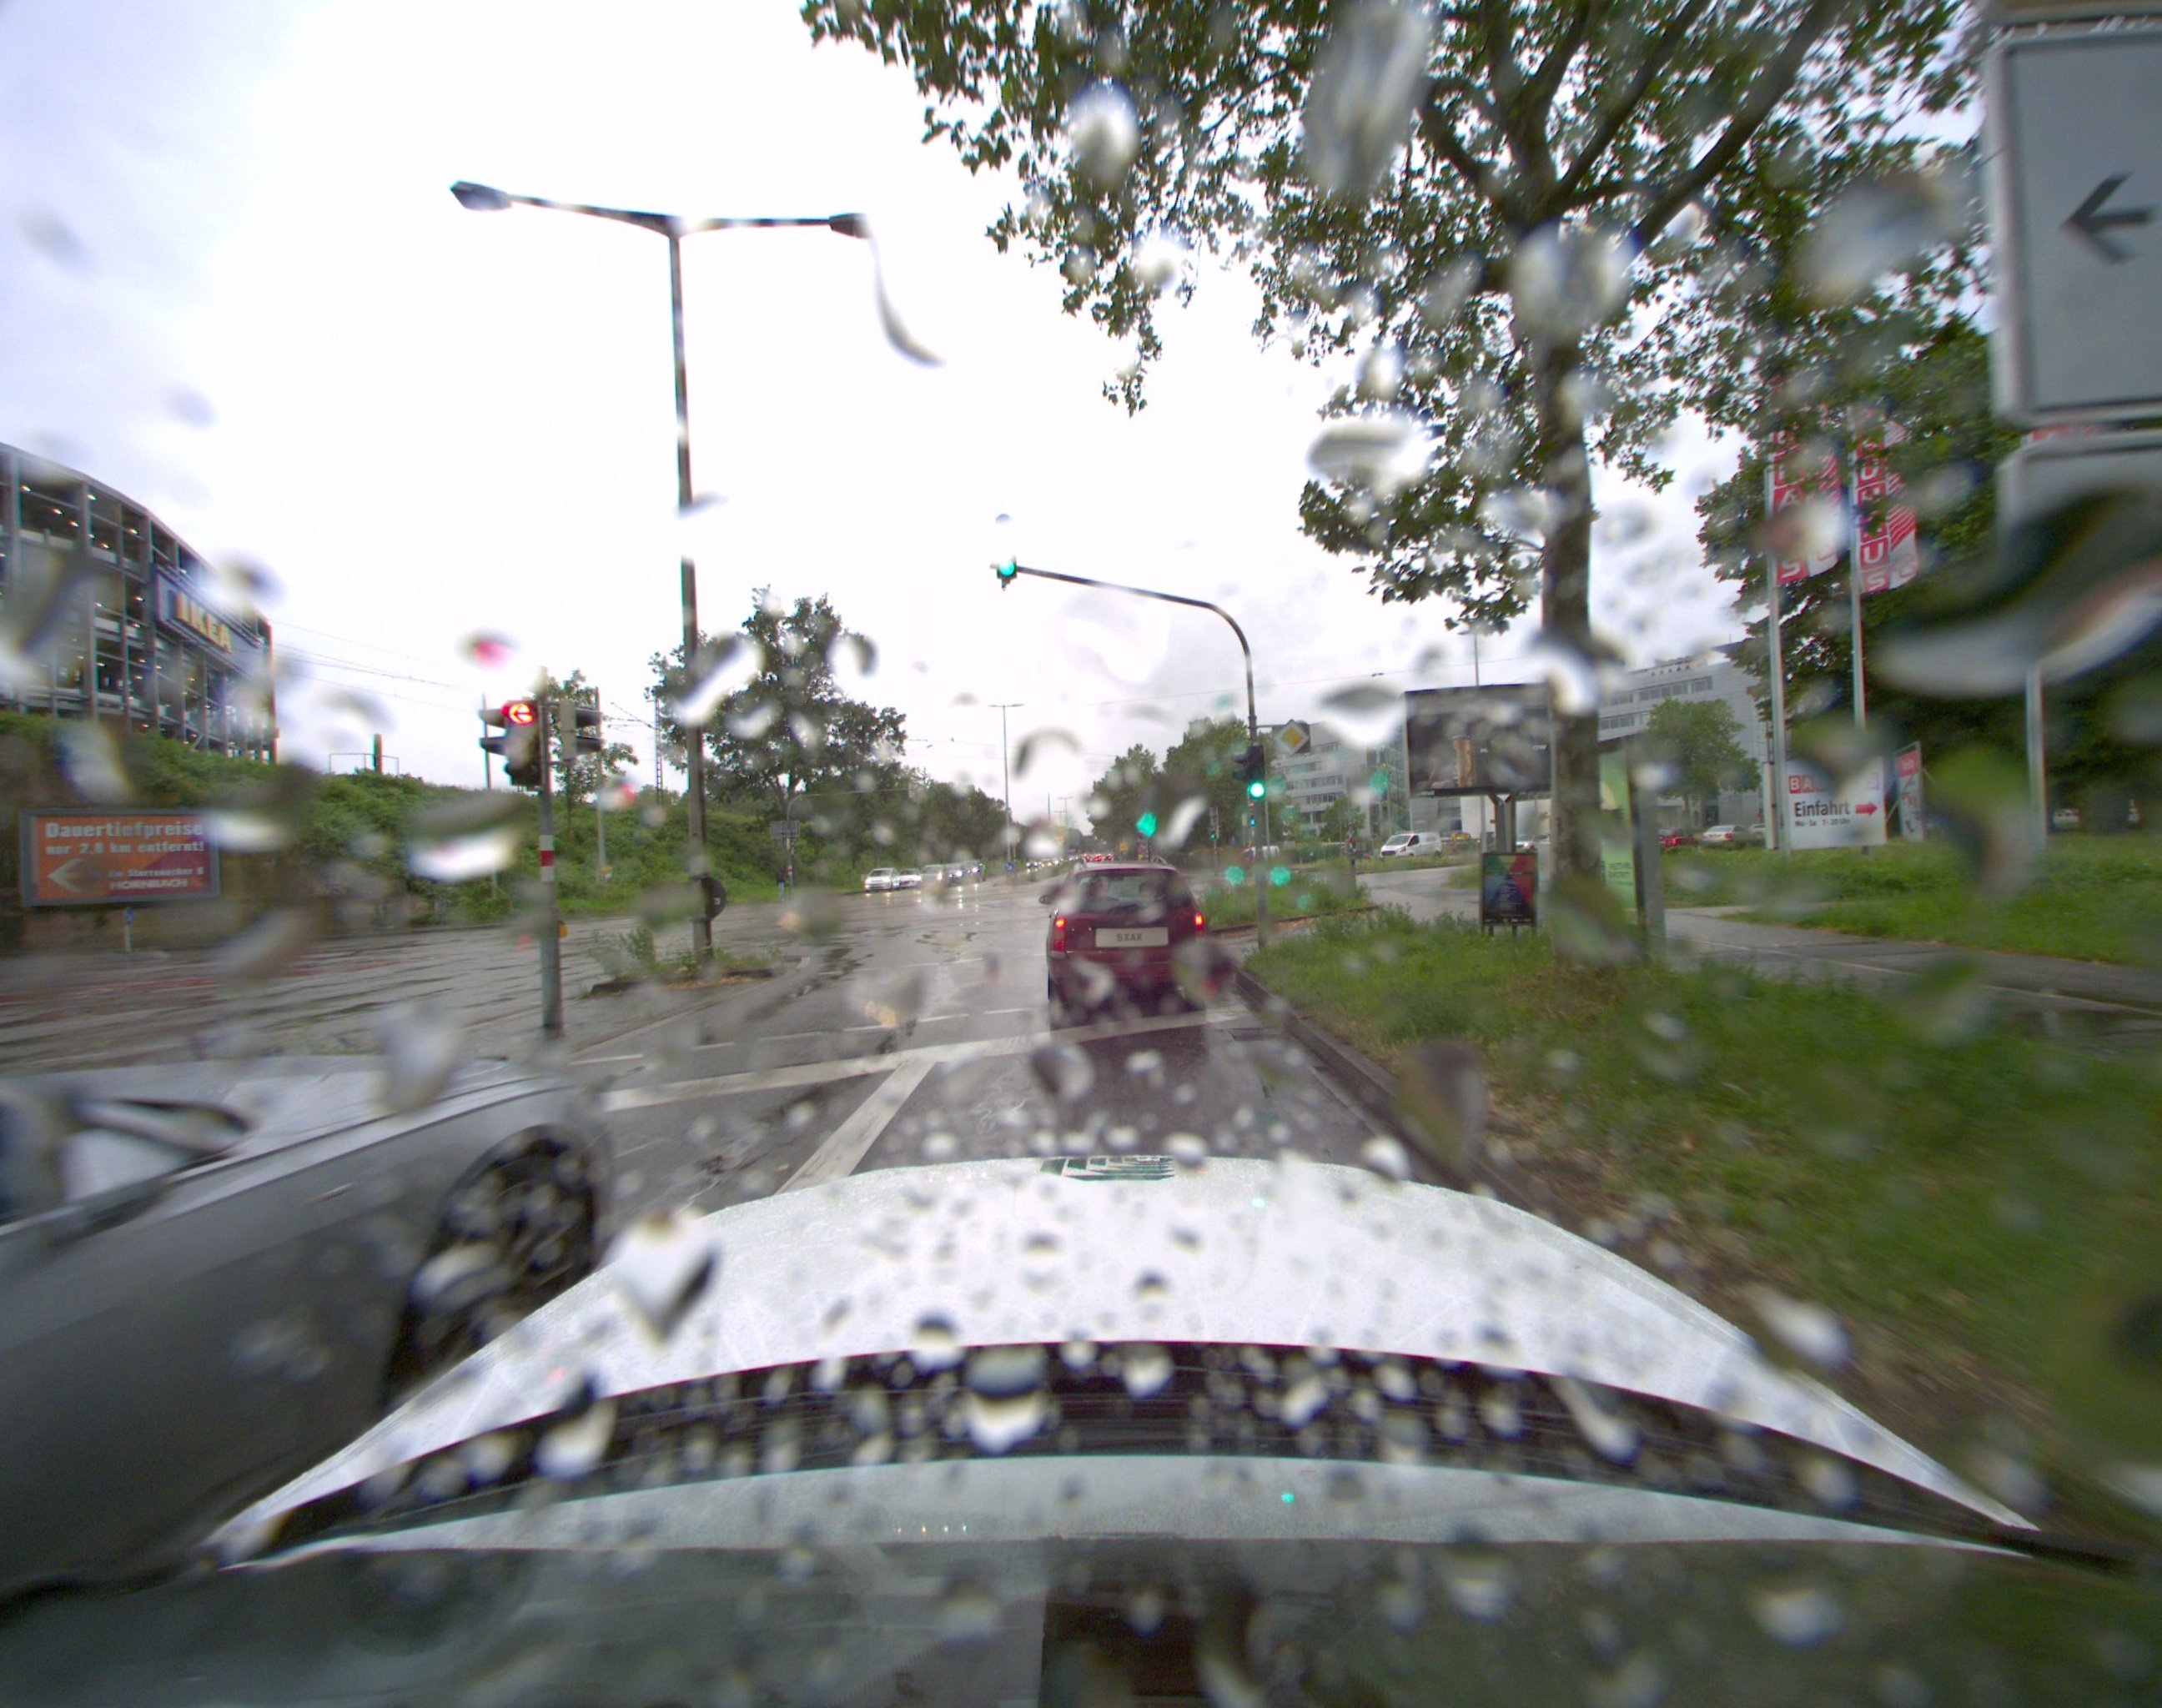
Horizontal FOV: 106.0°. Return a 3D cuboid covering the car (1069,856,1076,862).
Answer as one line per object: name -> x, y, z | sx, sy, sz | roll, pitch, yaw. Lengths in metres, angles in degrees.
car -> -2.554, 1.432, 241.518 | 1.956, 1.597, 4.285 | -3, 0, 1

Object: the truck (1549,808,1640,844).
truck -> 57.432, -3.105, 91.279 | 3.342, 3.507, 7.806 | -3, 0, -34

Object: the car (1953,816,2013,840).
car -> 61.624, -1.781, 55.633 | 4.847, 1.491, 1.907 | -2, -1, -33

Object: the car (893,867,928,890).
car -> -11.973, 1.711, 57.433 | 1.585, 1.404, 3.823 | -3, 0, 0

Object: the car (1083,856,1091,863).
car -> 1.377, 1.354, 198.542 | 1.691, 1.528, 3.849 | -3, 0, 3

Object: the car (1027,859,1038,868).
car -> -9.042, 1.816, 153.158 | 1.738, 1.702, 4.284 | 0, 0, 0

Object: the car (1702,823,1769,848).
car -> 42.764, -1.222, 53.158 | 4.847, 1.491, 1.907 | -2, -1, -33

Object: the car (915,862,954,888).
car -> -9.308, 1.316, 52.101 | 1.632, 1.473, 3.965 | -3, 0, 1

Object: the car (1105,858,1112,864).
car -> 7.212, 1.749, 212.628 | 1.664, 1.528, 3.848 | -3, 0, 3

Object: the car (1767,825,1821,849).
car -> 53.308, -1.300, 60.854 | 4.645, 1.586, 1.907 | -3, -1, -34

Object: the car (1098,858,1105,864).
car -> 5.737, 1.864, 226.480 | 1.662, 1.528, 3.852 | -3, 0, 6

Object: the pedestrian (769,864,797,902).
pedestrian -> -15.283, 1.470, 41.754 | 1.102, 1.847, 1.126 | -3, -1, -10

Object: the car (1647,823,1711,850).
car -> 35.167, -1.059, 47.882 | 3.828, 1.491, 1.662 | -1, -1, -30

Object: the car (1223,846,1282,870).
car -> 13.308, 0.305, 63.214 | 4.194, 1.726, 1.750 | -1, 0, 21

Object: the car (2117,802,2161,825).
car -> 88.113, -3.409, 65.345 | 2.287, 1.731, 5.899 | -3, -1, -33

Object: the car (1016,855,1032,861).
car -> -16.657, 1.113, 239.669 | 4.301, 1.597, 1.948 | -3, 0, -34

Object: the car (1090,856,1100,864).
car -> 3.179, 1.363, 183.154 | 2.138, 1.528, 4.196 | -3, 0, 4

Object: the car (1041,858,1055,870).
car -> -5.091, 1.511, 126.204 | 1.738, 1.702, 4.284 | -4, 0, 0

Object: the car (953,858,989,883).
car -> -9.054, 1.327, 67.388 | 2.058, 1.819, 5.541 | -3, 0, 0

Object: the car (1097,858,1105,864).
car -> 4.567, 1.624, 189.700 | 1.691, 1.528, 3.848 | -3, 0, 3

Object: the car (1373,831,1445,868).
car -> 21.146, -0.307, 52.422 | 4.709, 2.125, 1.978 | -2, -1, -36

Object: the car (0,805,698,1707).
car -> -2.440, 0.722, 0.831 | 1.763, 1.574, 4.821 | 0, 0, 1

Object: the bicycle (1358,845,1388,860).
bicycle -> 23.914, -0.113, 66.688 | 2.286, 1.046, 0.853 | -3, -1, 21

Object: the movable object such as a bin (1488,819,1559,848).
movable object such as a bin -> 53.204, -2.396, 98.037 | 3.342, 2.996, 6.649 | -3, 0, -34

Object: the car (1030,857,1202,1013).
car -> 0.357, 0.779, 9.636 | 1.636, 1.465, 3.732 | 0, 0, 1

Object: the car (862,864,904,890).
car -> -12.353, 1.409, 51.054 | 1.633, 1.452, 3.786 | -3, 0, -1

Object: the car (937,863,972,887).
car -> -9.150, 1.484, 59.224 | 1.757, 1.586, 4.812 | -3, -1, 0
